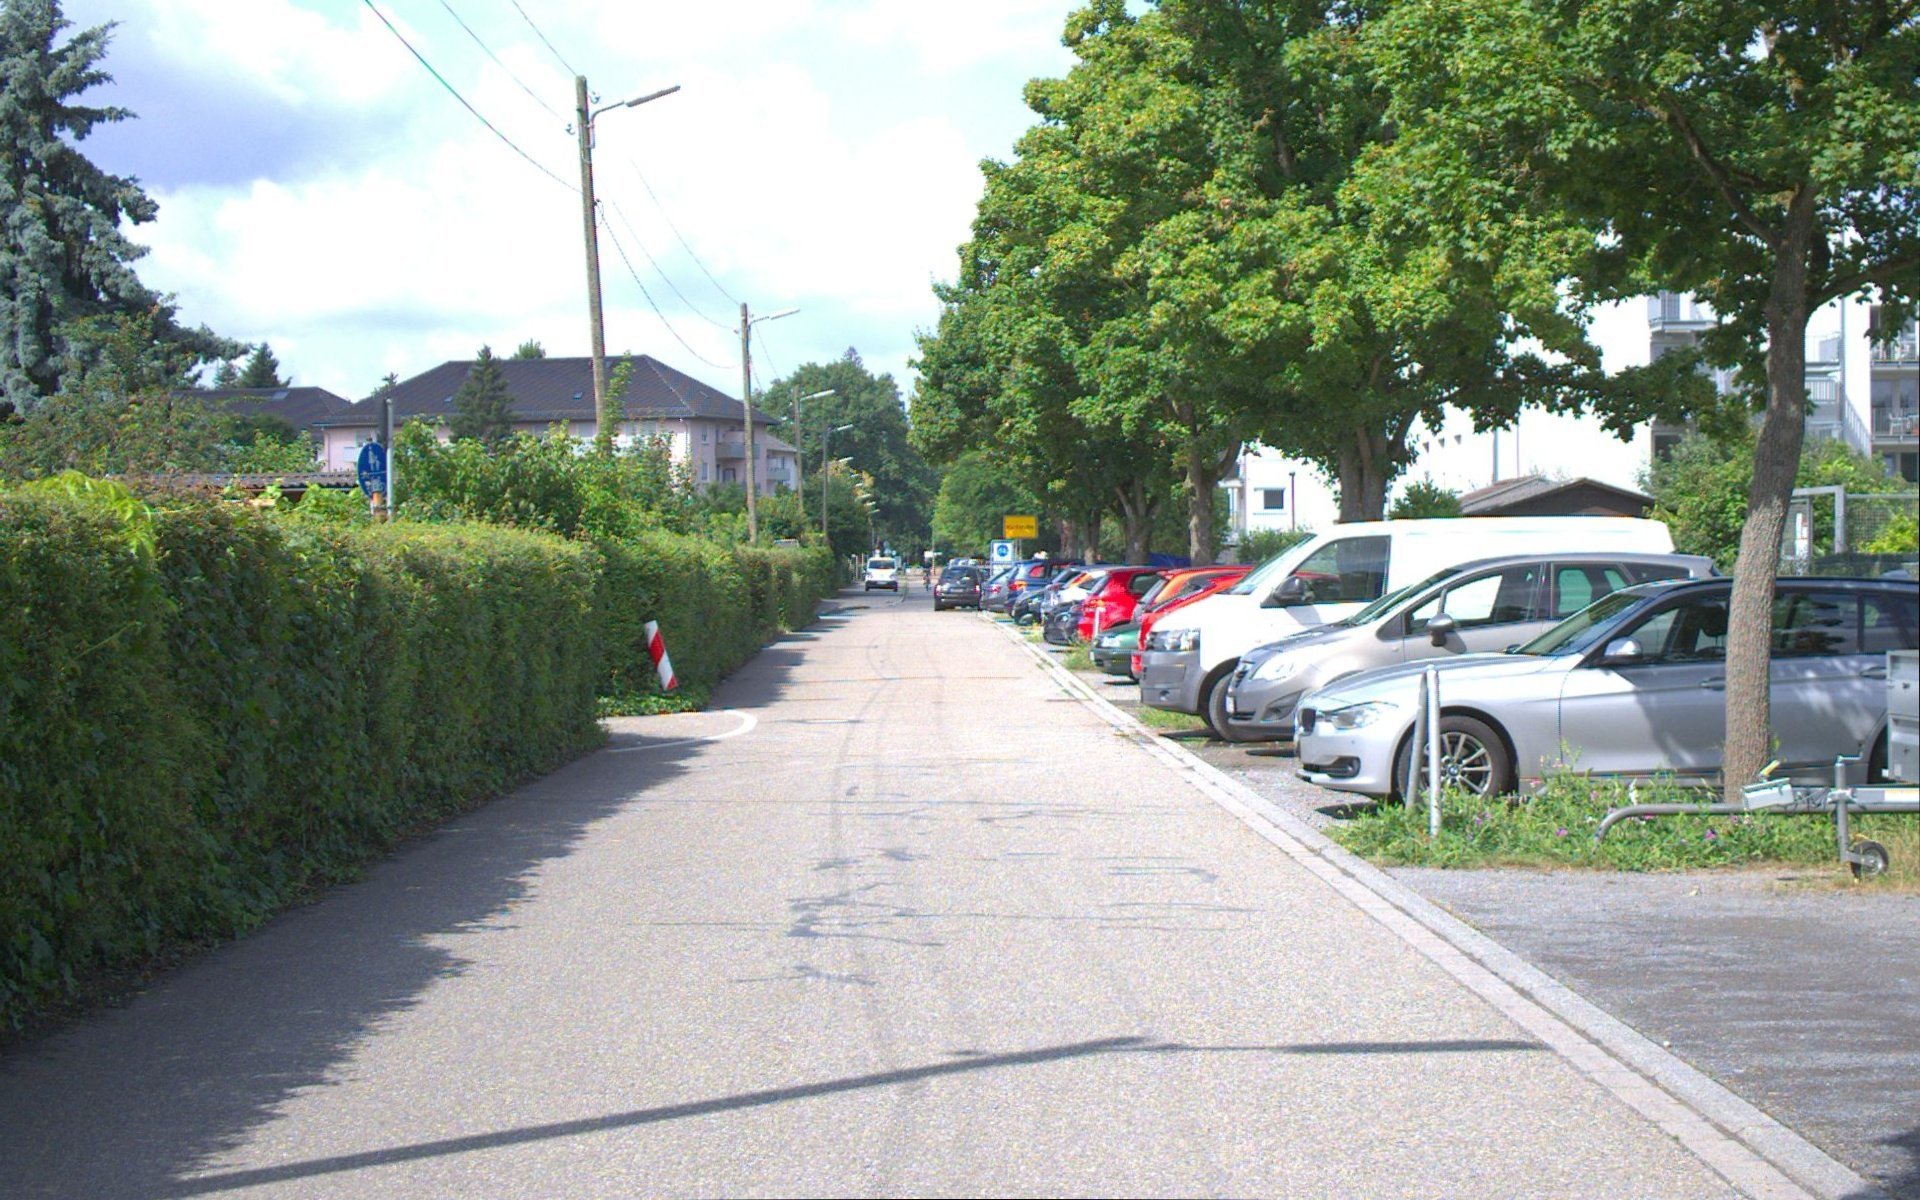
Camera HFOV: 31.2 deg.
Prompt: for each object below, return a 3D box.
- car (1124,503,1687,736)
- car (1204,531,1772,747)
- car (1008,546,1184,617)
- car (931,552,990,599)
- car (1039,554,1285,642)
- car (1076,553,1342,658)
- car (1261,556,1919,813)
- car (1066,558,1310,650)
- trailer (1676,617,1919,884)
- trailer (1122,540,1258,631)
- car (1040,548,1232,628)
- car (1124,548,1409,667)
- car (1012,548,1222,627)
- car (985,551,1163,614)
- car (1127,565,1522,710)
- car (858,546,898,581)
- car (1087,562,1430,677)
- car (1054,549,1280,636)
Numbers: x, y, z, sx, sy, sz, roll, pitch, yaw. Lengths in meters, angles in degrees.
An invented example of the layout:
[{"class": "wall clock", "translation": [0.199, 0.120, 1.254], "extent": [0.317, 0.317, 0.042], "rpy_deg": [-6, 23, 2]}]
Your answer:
[{"class": "car", "translation": [3.877, 0.148, 30.513], "extent": [4.634, 1.880, 2.112], "rpy_deg": [-1, 1, -2]}, {"class": "car", "translation": [4.185, 0.289, 27.771], "extent": [4.243, 1.587, 2.000], "rpy_deg": [-1, 1, 0]}, {"class": "car", "translation": [3.273, -0.454, 83.456], "extent": [4.154, 1.632, 1.879], "rpy_deg": [-1, 0, 0]}, {"class": "car", "translation": [0.028, -0.809, 114.905], "extent": [1.663, 1.501, 3.999], "rpy_deg": [1, 0, 4]}, {"class": "car", "translation": [3.466, -0.040, 59.593], "extent": [4.065, 1.450, 1.870], "rpy_deg": [1, 0, -3]}, {"class": "car", "translation": [3.811, 0.073, 52.912], "extent": [3.987, 1.514, 1.854], "rpy_deg": [1, 0, 3]}, {"class": "car", "translation": [4.245, 0.469, 20.815], "extent": [4.577, 1.461, 2.000], "rpy_deg": [0, 1, -4]}, {"class": "car", "translation": [3.712, 0.054, 56.426], "extent": [3.910, 1.419, 1.957], "rpy_deg": [1, 0, 2]}, {"class": "trailer", "translation": [5.122, 0.684, 16.087], "extent": [3.100, 1.138, 2.000], "rpy_deg": [1, 0, 0]}, {"class": "trailer", "translation": [4.491, -0.293, 67.396], "extent": [2.449, 1.714, 1.518], "rpy_deg": [1, 1, -4]}, {"class": "car", "translation": [3.576, -0.249, 70.281], "extent": [3.723, 1.535, 1.850], "rpy_deg": [1, 0, -3]}, {"class": "car", "translation": [4.249, 0.098, 48.113], "extent": [3.764, 1.568, 1.870], "rpy_deg": [1, 0, -1]}, {"class": "car", "translation": [3.289, -0.263, 72.863], "extent": [4.302, 1.588, 2.000], "rpy_deg": [1, 0, -1]}, {"class": "car", "translation": [2.961, -0.459, 90.104], "extent": [4.548, 1.573, 1.809], "rpy_deg": [1, 0, -2]}, {"class": "car", "translation": [4.000, 0.397, 38.240], "extent": [4.183, 1.499, 1.878], "rpy_deg": [1, 0, 1]}, {"class": "car", "translation": [-4.365, -1.951, 183.289], "extent": [1.903, 1.808, 4.000], "rpy_deg": [1, 0, 2]}, {"class": "car", "translation": [3.894, 0.252, 45.388], "extent": [4.238, 1.423, 1.908], "rpy_deg": [1, 0, -4]}, {"class": "car", "translation": [3.780, -0.136, 63.200], "extent": [4.065, 1.506, 1.957], "rpy_deg": [1, 0, 2]}]
